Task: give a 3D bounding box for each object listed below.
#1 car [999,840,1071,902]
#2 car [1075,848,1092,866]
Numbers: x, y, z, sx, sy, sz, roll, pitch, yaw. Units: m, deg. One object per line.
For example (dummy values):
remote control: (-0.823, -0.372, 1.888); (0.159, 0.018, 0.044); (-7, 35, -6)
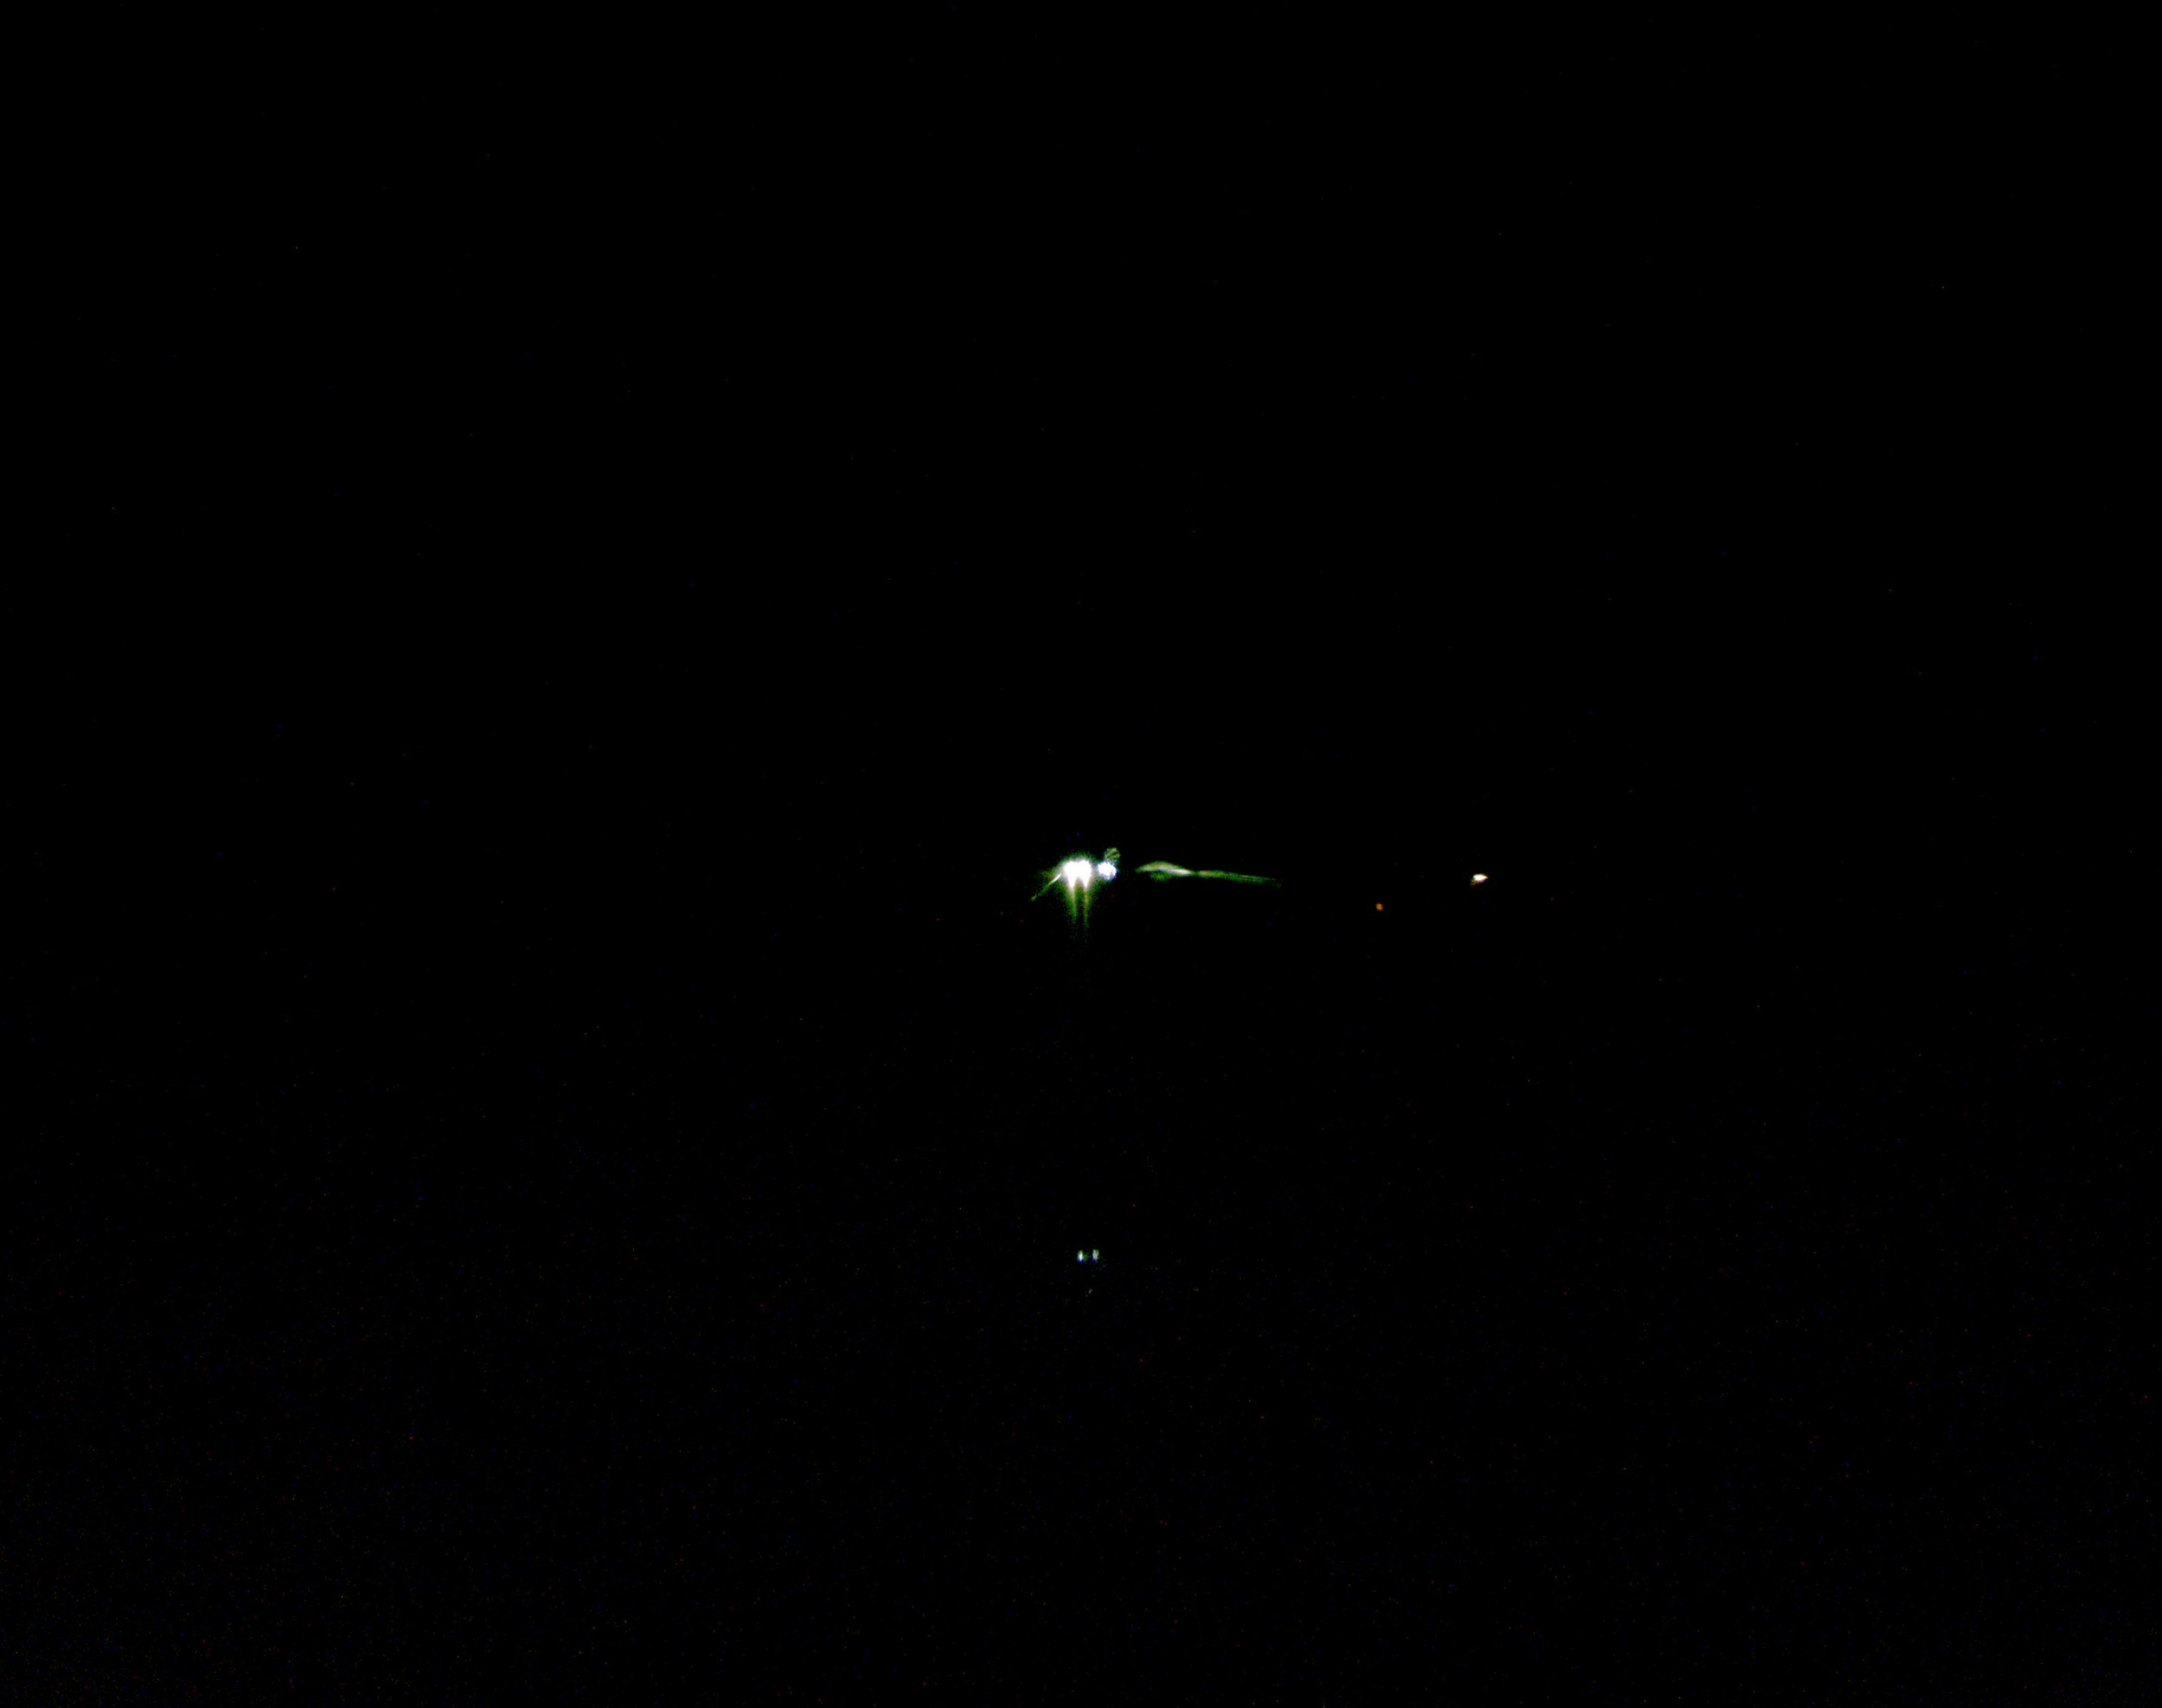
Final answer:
car: (-1.586, 0.580, 27.857); (2.202, 2.002, 4.207); (-3, 0, 1)
car: (0.306, 0.318, 94.913); (1.999, 2.003, 3.998); (-3, 3, 0)
